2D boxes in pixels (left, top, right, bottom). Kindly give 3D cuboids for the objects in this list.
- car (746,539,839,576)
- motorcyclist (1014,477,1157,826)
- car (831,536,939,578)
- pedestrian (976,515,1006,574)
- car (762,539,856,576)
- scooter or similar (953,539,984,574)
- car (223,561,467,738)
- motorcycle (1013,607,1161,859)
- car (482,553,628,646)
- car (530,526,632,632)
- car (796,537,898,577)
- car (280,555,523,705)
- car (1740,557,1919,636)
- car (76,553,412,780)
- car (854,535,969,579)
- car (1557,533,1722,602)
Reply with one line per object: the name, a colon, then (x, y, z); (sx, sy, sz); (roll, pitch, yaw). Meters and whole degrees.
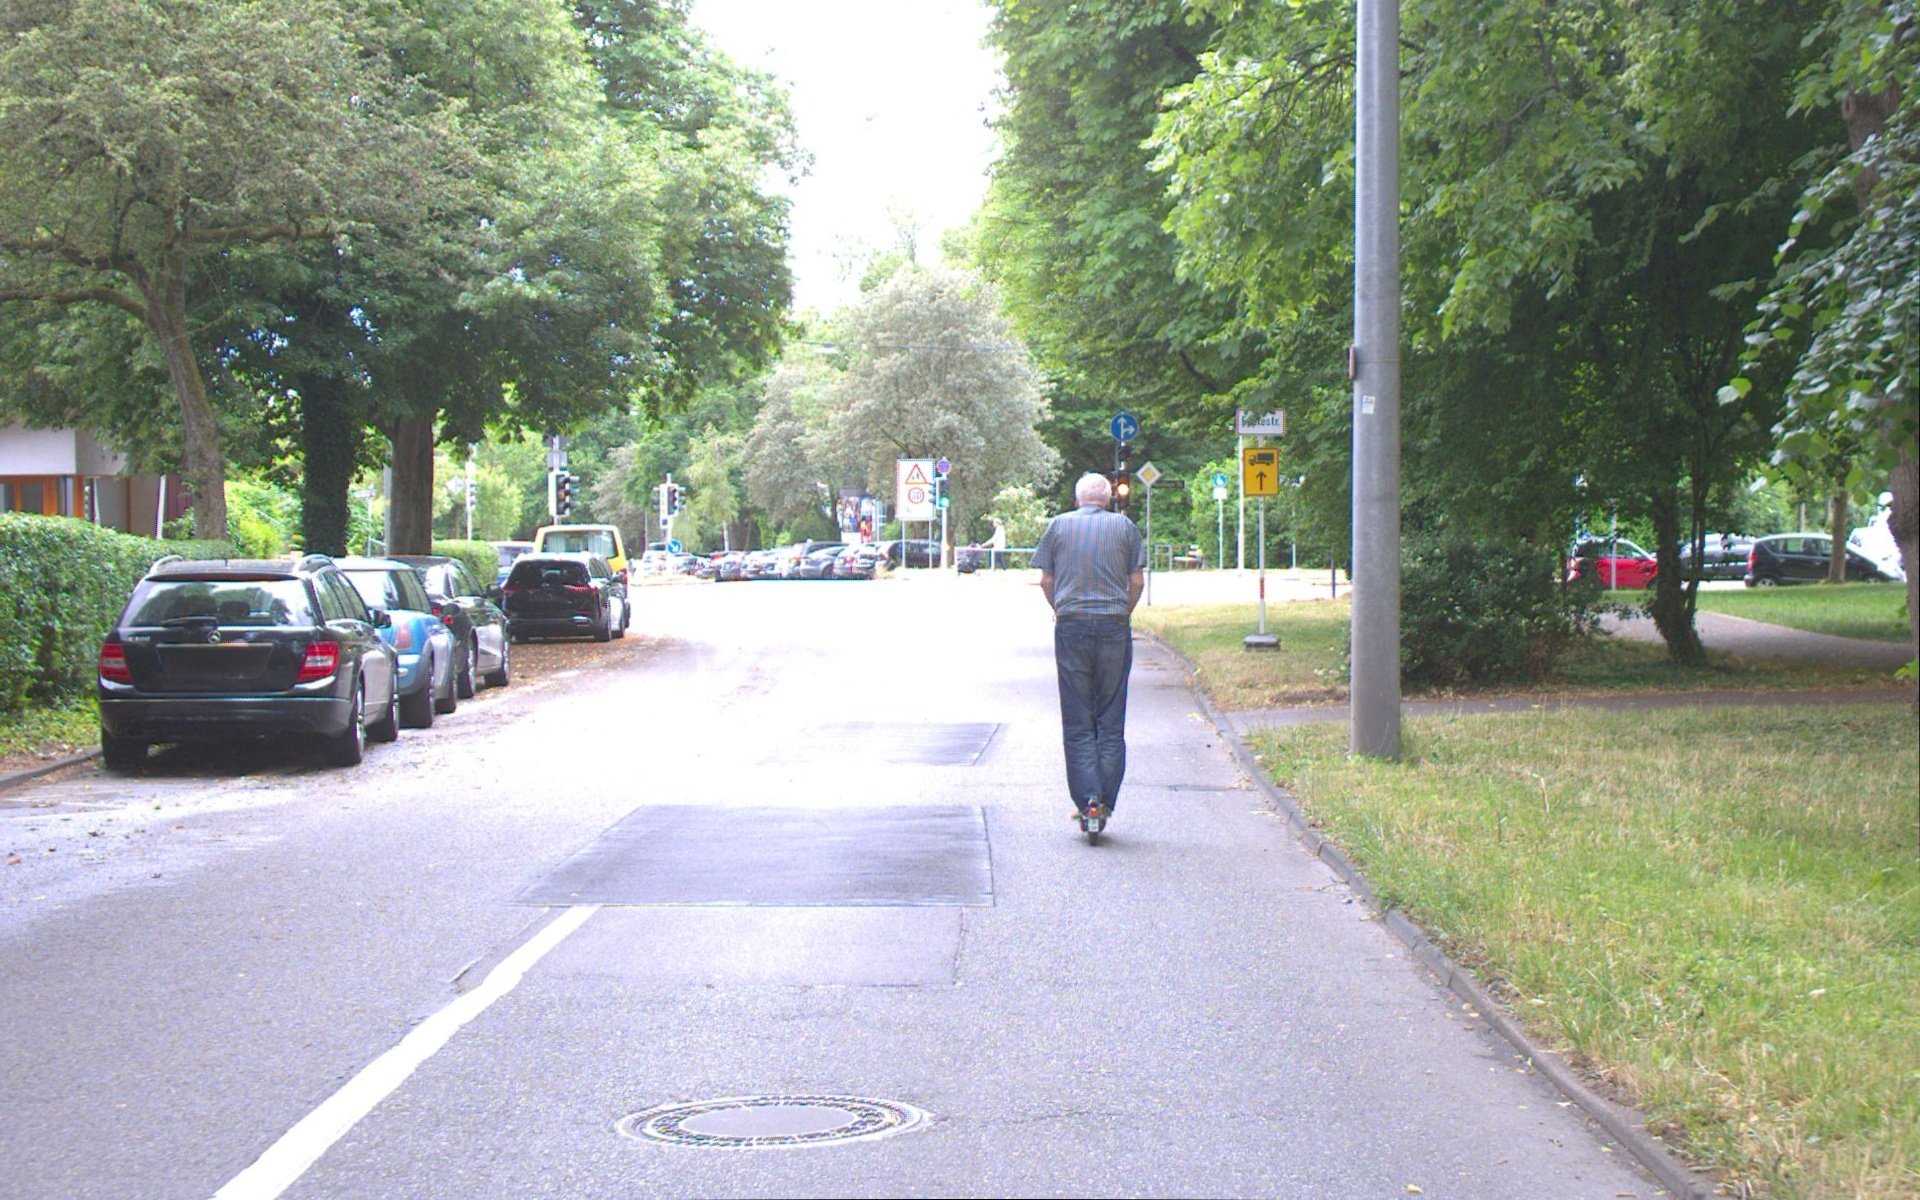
car: (-7.296, -1.841, 149.510); (3.986, 1.505, 1.800); (-1, 1, -4)
motorcyclist: (0.639, 0.255, 17.700); (0.673, 1.755, 0.639); (1, 1, 0)
car: (-2.840, -1.639, 130.162); (3.986, 1.505, 1.800); (-1, 1, -4)
pedestrian: (0.933, -1.677, 104.066); (0.733, 1.756, 0.661); (-1, 0, 18)
car: (-6.497, -1.823, 147.632); (3.986, 1.505, 1.800); (-1, 1, -4)
scooter or similar: (0.258, -1.323, 104.379); (0.710, 1.045, 0.787); (-1, 0, 18)
car: (-5.247, 0.378, 29.712); (1.664, 1.387, 3.707); (-1, 1, -4)
motorcycle: (0.635, 0.656, 17.572); (0.673, 1.213, 1.274); (1, 1, -1)
car: (-6.503, -0.014, 55.618); (1.892, 1.405, 4.554); (-1, 0, -1)
car: (-7.379, -0.399, 66.663); (1.857, 1.957, 4.505); (-1, 0, -7)
car: (-4.513, -1.701, 136.960); (3.986, 1.505, 1.800); (-1, 1, -4)
car: (-5.673, 0.255, 35.428); (1.794, 1.405, 4.645); (-1, 1, -1)
car: (21.418, -0.101, 84.693); (3.992, 1.720, 1.798); (2, 4, 24)
car: (-5.087, 0.407, 24.951); (1.794, 1.467, 4.419); (-1, 1, -4)
car: (-1.734, -1.543, 123.051); (3.986, 1.505, 1.800); (-1, 1, -4)
car: (16.999, -0.833, 86.107); (3.989, 1.552, 1.800); (1, 4, 11)
